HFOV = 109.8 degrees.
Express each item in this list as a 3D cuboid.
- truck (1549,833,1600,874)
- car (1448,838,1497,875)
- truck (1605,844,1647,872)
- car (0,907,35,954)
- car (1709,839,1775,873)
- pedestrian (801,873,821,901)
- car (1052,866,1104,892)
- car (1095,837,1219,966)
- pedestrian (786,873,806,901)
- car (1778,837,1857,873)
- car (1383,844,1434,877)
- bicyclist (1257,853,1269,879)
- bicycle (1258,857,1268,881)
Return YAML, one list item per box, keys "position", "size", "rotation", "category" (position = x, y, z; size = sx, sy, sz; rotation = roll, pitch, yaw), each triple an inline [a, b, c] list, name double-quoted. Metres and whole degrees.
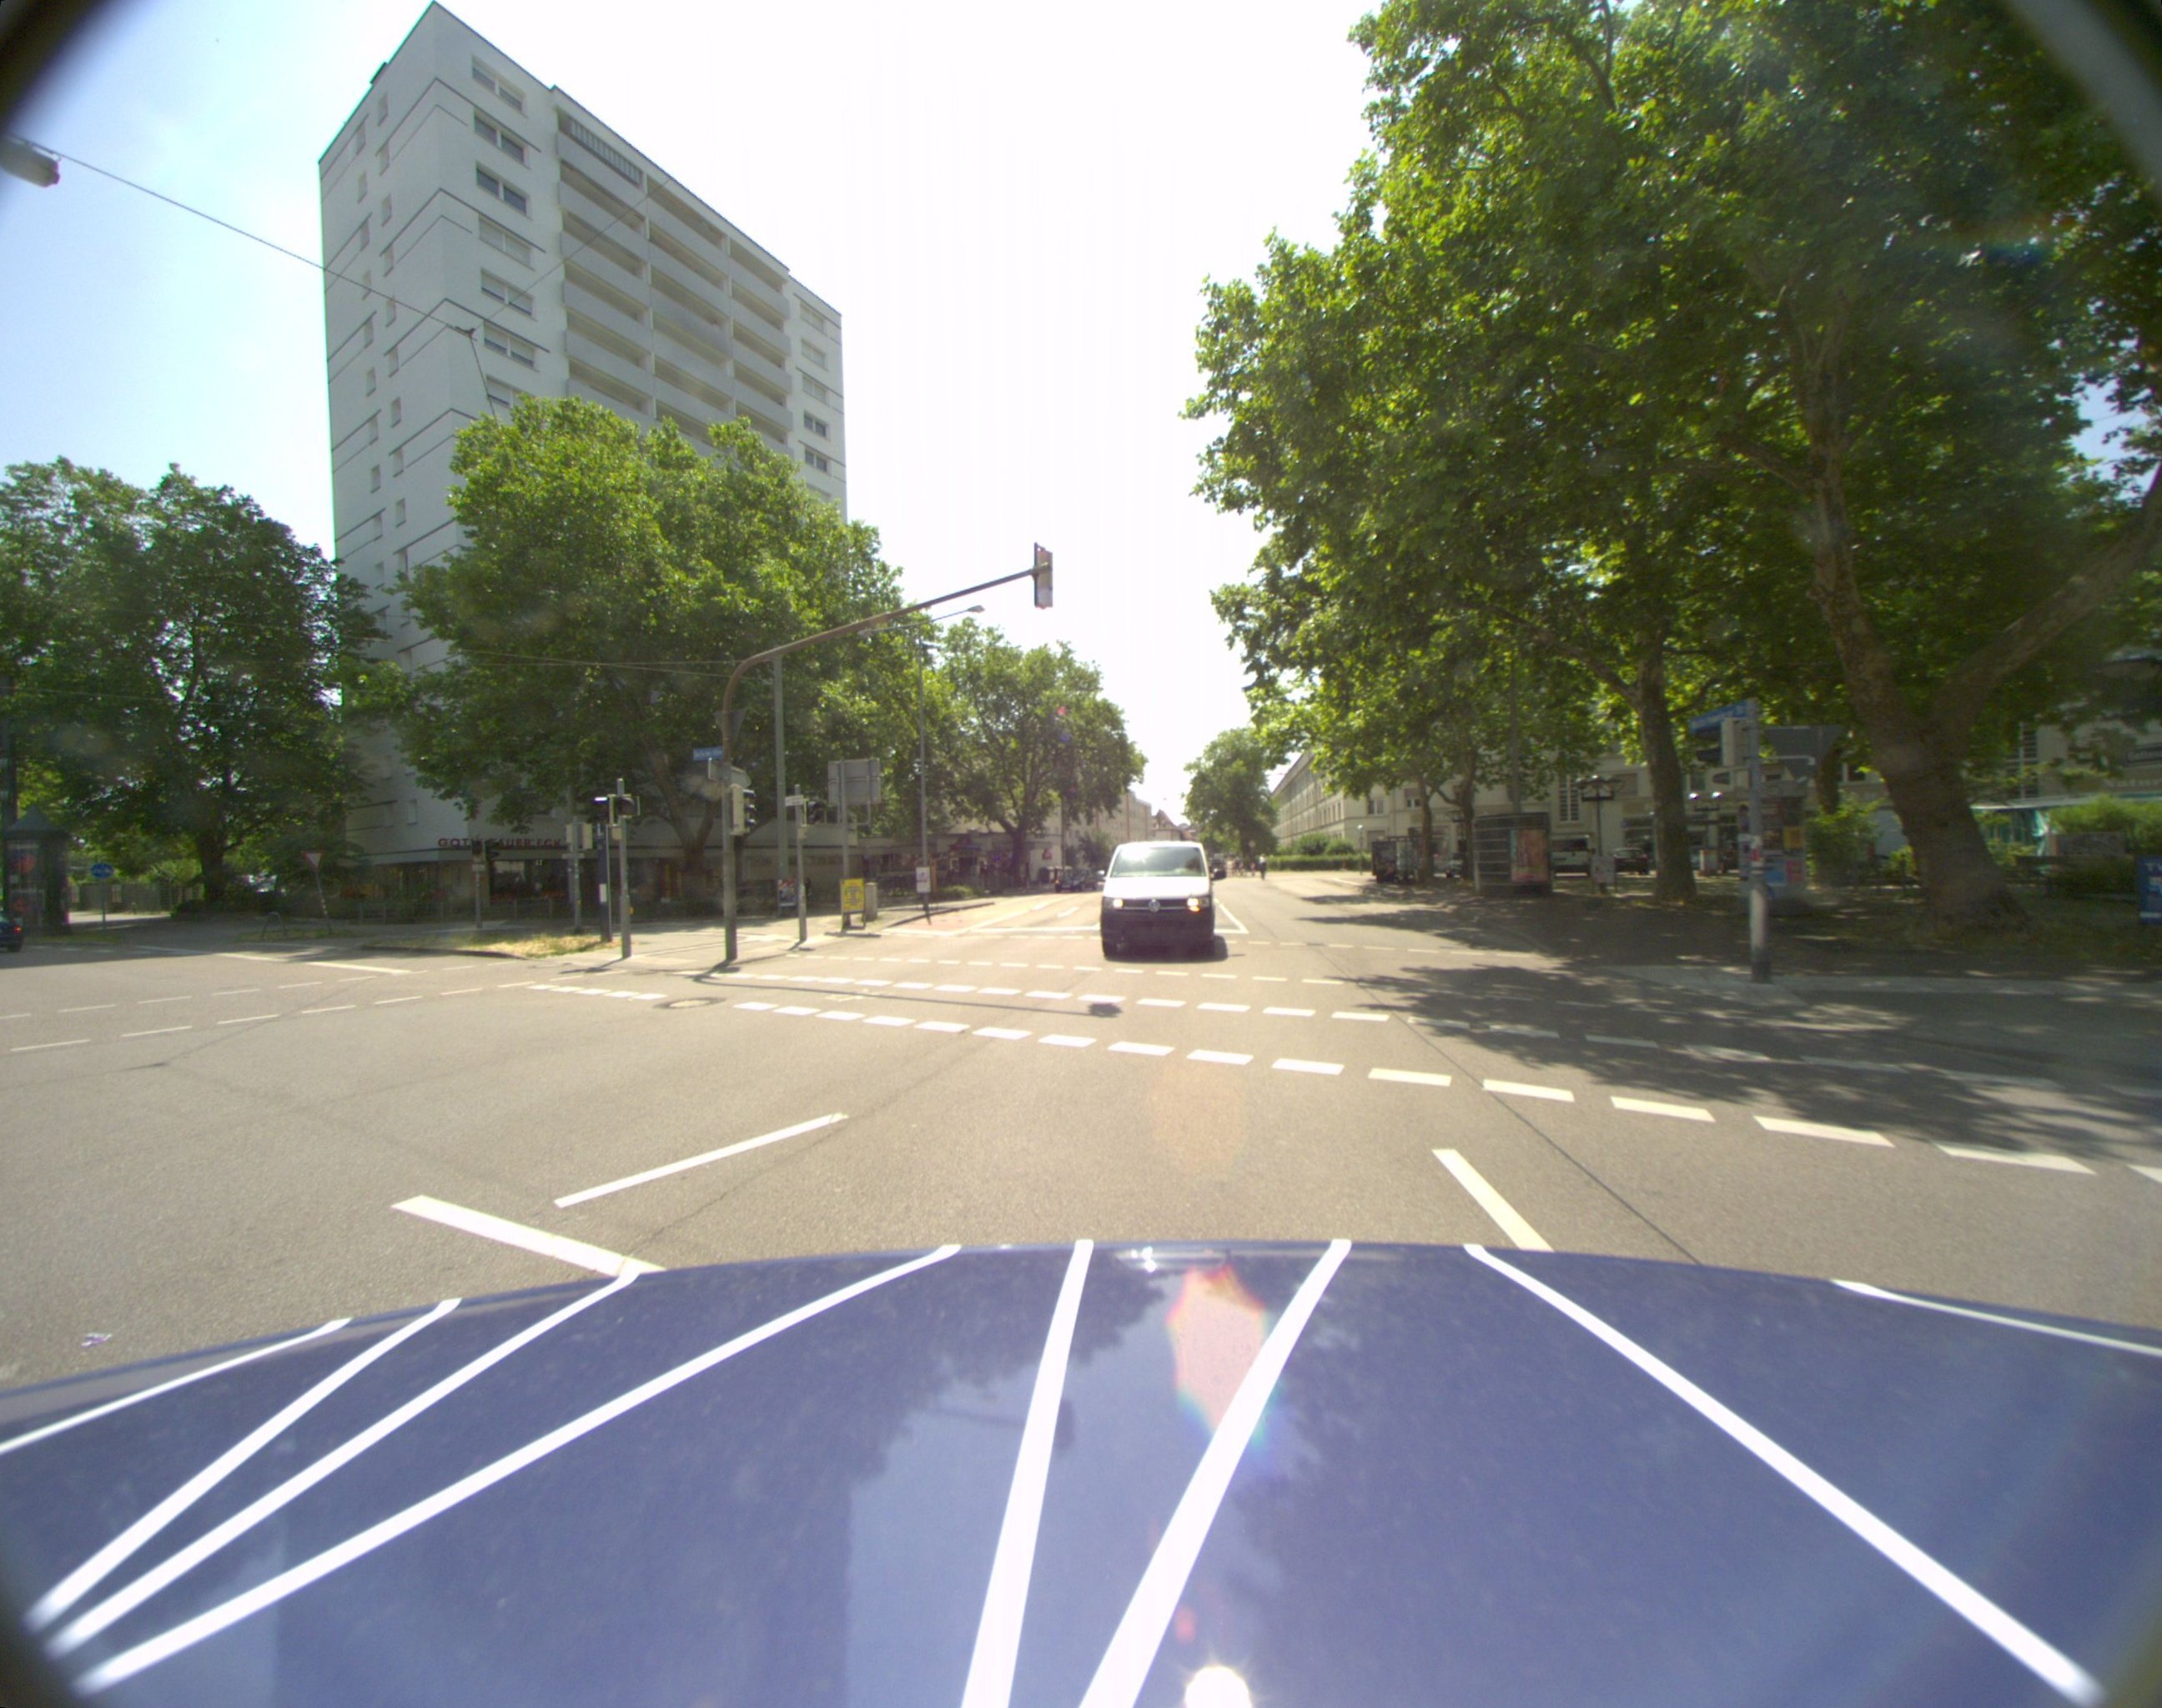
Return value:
- position: [27.287, -0.067, 41.961]
  size: [1.960, 2.110, 4.381]
  rotation: [-1, 1, 38]
  category: "truck"
- position: [23.026, 0.111, 44.642]
  size: [1.994, 2.002, 4.007]
  rotation: [-2, 1, 35]
  category: "car"
- position: [29.189, 0.211, 40.753]
  size: [1.466, 1.369, 2.987]
  rotation: [-2, 1, 29]
  category: "truck"
- position: [-34.941, 2.446, 23.763]
  size: [3.387, 1.387, 1.483]
  rotation: [-2, 1, 16]
  category: "car"
- position: [33.454, 0.072, 38.551]
  size: [1.930, 1.591, 4.008]
  rotation: [-2, 0, 33]
  category: "car"
- position: [-13.268, 1.627, 37.317]
  size: [0.592, 1.357, 0.641]
  rotation: [-2, 1, 26]
  category: "pedestrian"
- position: [-0.136, 1.515, 47.071]
  size: [1.798, 1.338, 3.799]
  rotation: [-2, 1, 24]
  category: "car"
- position: [1.464, 0.815, 14.225]
  size: [1.851, 1.941, 4.947]
  rotation: [-2, -2, 7]
  category: "car"
- position: [-14.254, 1.661, 38.047]
  size: [0.592, 1.357, 0.641]
  rotation: [-2, 1, 26]
  category: "pedestrian"
- position: [35.397, 0.017, 36.627]
  size: [1.930, 1.591, 4.008]
  rotation: [-2, 0, 33]
  category: "car"
- position: [19.904, 0.383, 46.032]
  size: [1.995, 1.888, 4.008]
  rotation: [-2, 0, 35]
  category: "car"
- position: [12.627, 0.829, 52.752]
  size: [0.704, 1.725, 0.788]
  rotation: [-2, 1, 16]
  category: "bicyclist"
- position: [12.669, 1.048, 52.855]
  size: [0.596, 1.546, 1.845]
  rotation: [-2, 1, 16]
  category: "bicycle"
